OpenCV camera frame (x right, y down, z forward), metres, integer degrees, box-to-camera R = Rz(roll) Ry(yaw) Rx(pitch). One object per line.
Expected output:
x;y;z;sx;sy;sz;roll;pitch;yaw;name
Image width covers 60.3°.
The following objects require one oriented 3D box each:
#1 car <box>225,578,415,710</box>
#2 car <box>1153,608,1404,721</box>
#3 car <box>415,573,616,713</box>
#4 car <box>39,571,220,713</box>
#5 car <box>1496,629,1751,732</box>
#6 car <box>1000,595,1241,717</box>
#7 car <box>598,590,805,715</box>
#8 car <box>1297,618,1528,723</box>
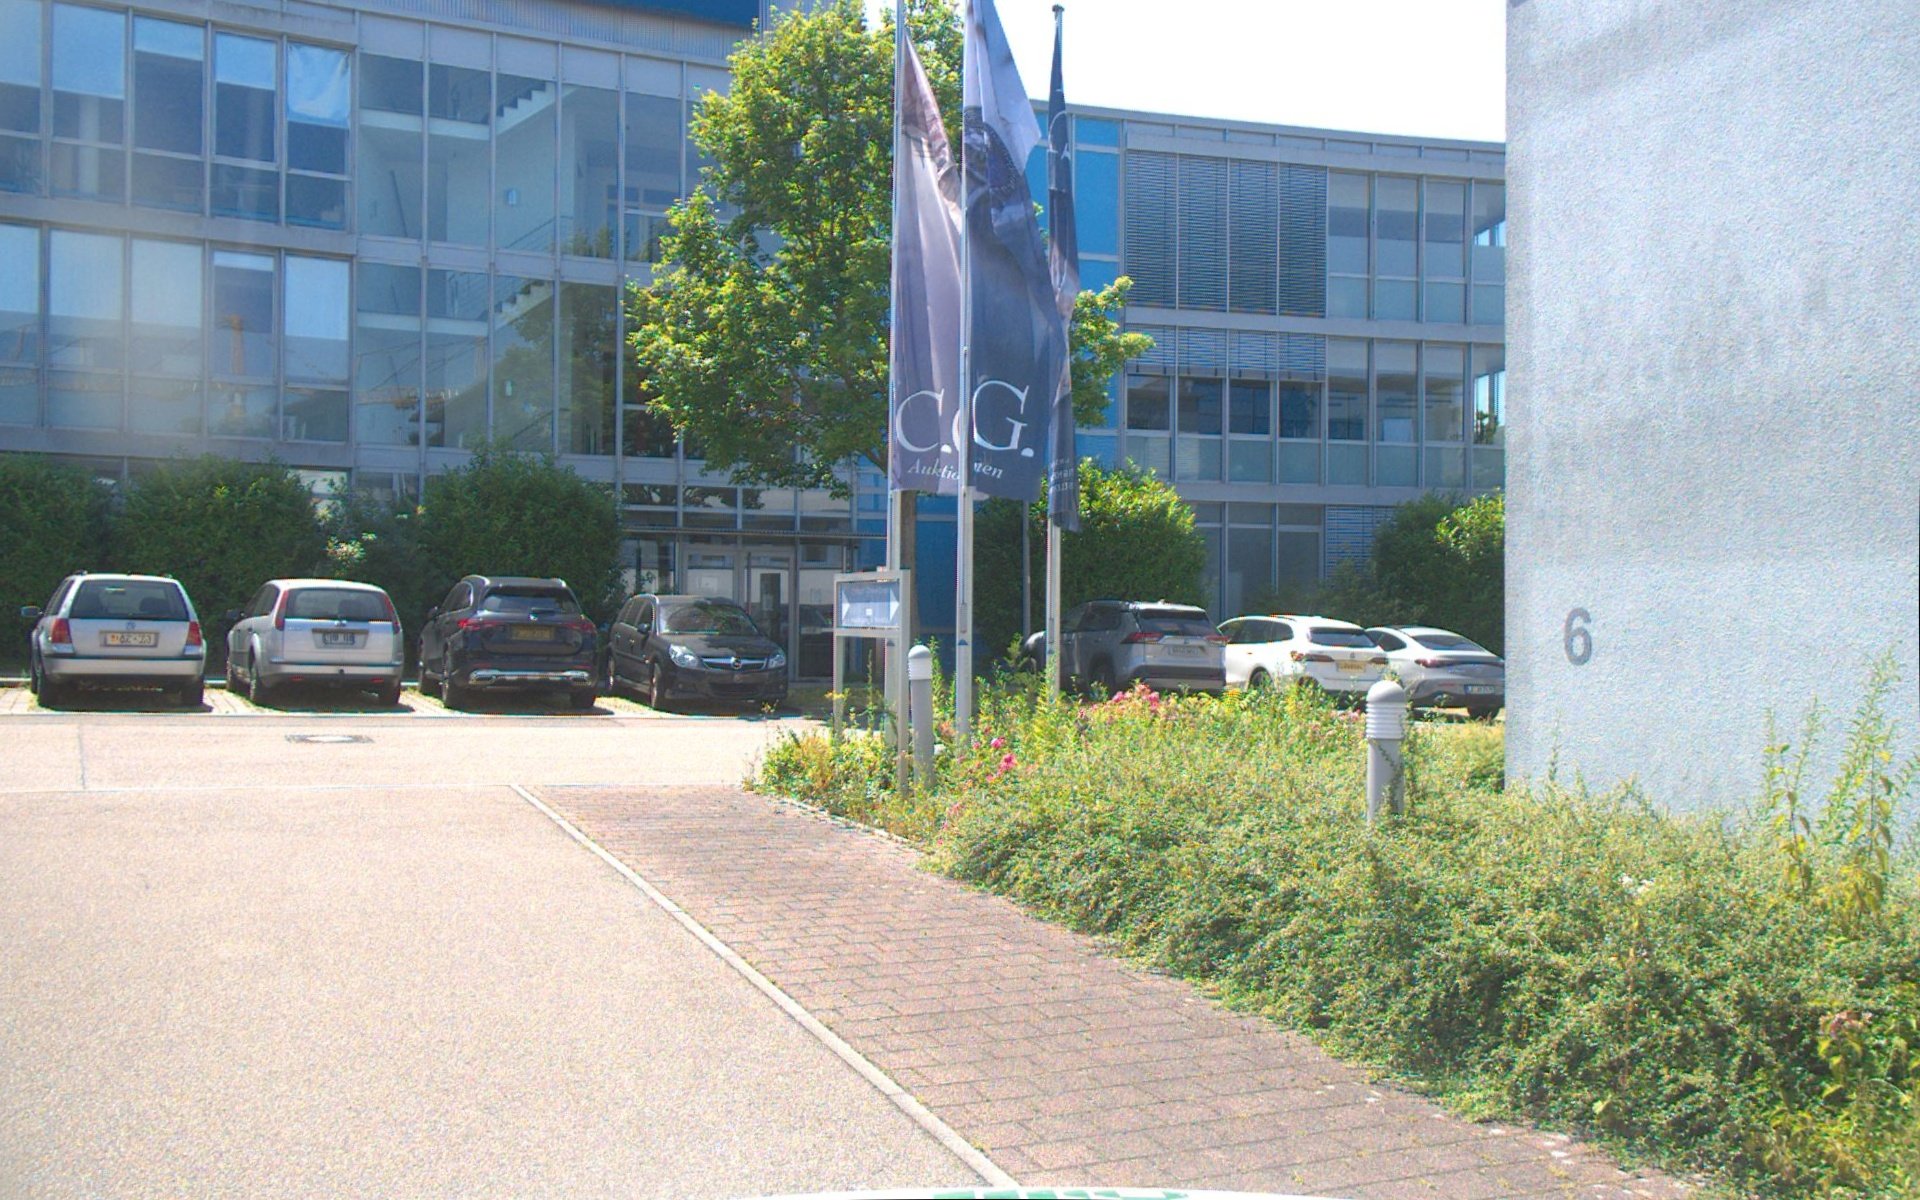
-8.208;0.513;21.044;1.746;1.474;3.619;2;0;-29;car
4.935;0.977;26.257;1.713;1.518;4.306;3;0;-25;car
-5.968;0.507;21.886;1.902;1.639;3.956;2;0;-25;car
-9.884;0.449;19.591;1.712;1.474;3.619;2;0;-29;car
11.407;1.336;28.804;1.707;1.472;4.530;3;0;-15;car
2.376;0.799;25.655;1.796;1.648;4.306;1;1;-25;car
-3.683;0.657;22.919;1.747;1.507;4.226;1;1;-25;car
7.355;1.101;27.356;1.707;1.454;4.322;3;0;-15;car
